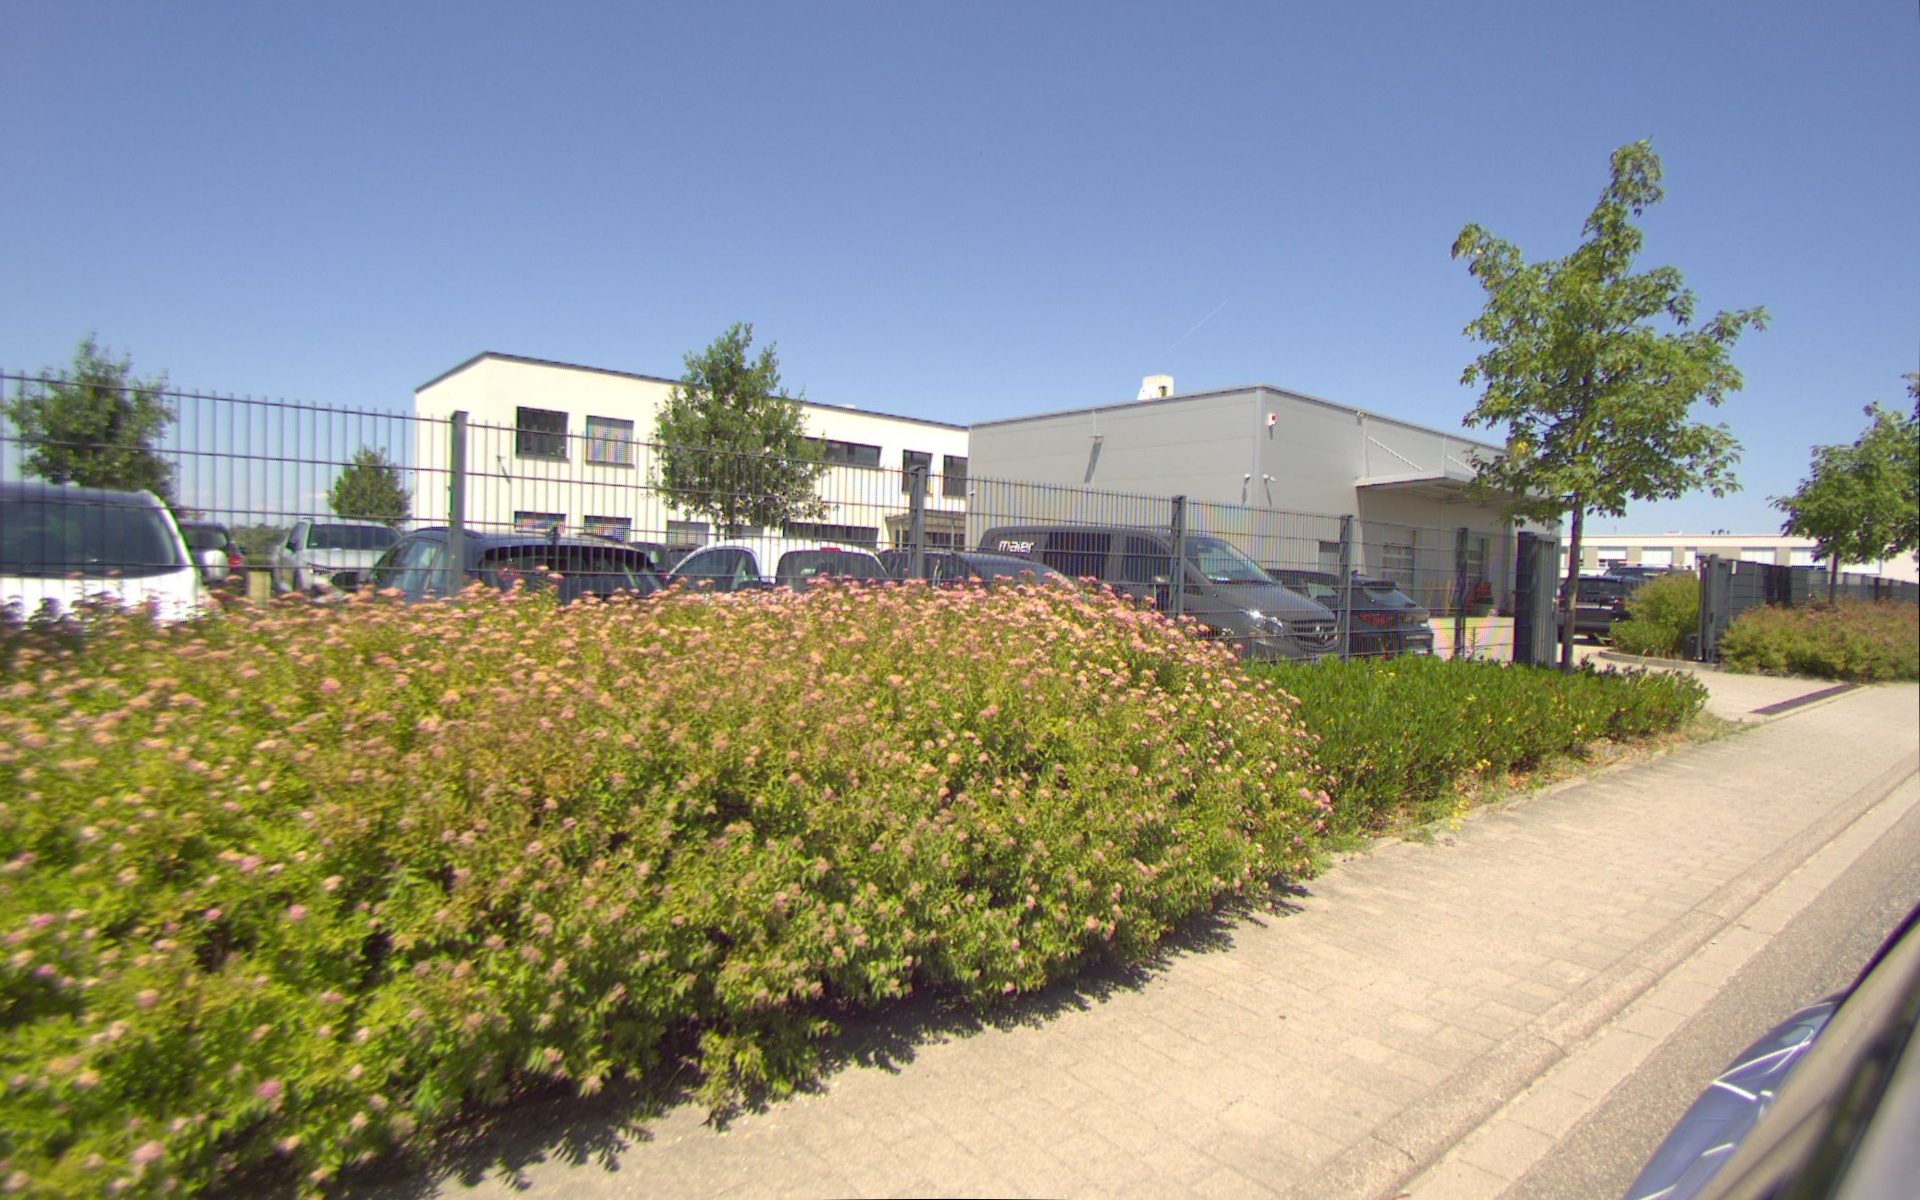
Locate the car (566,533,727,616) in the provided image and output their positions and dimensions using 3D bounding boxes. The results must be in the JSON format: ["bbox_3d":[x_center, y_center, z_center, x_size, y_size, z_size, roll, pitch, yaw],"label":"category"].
[{"bbox_3d":[-6.159,-0.544,19.612,1.734,1.420,3.885,0,3,-37],"label":"car"}]

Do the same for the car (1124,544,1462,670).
[{"bbox_3d":[4.522,-0.011,14.280,1.734,1.439,4.225,0,3,-40],"label":"car"}]

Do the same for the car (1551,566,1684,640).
[{"bbox_3d":[15.519,0.036,23.822,3.811,1.574,1.546,0,3,-40],"label":"car"}]

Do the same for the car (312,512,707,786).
[{"bbox_3d":[-3.398,0.161,7.245,1.615,1.439,3.673,0,3,-40],"label":"car"}]

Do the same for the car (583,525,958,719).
[{"bbox_3d":[-2.075,0.049,9.993,1.724,1.462,4.289,0,4,-40],"label":"car"}]

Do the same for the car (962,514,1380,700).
[{"bbox_3d":[2.421,-0.096,12.958,1.869,1.896,5.126,0,4,-40],"label":"car"}]

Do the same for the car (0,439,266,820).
[{"bbox_3d":[-5.167,0.019,5.605,1.790,1.540,3.996,0,3,-40],"label":"car"}]

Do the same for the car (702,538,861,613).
[{"bbox_3d":[-3.878,-0.563,21.518,1.734,1.420,3.885,0,3,-37],"label":"car"}]

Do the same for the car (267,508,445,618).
[{"bbox_3d":[-10.017,-0.650,16.641,1.885,1.571,4.051,0,3,-40],"label":"car"}]

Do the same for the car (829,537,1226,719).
[{"bbox_3d":[0.486,0.132,10.711,1.574,1.467,4.355,0,4,-40],"label":"car"}]

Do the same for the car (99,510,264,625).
[{"bbox_3d":[-11.687,-0.538,15.101,1.745,1.466,4.051,0,3,-40],"label":"car"}]

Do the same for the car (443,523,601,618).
[{"bbox_3d":[-7.971,-0.577,18.243,1.734,1.521,3.885,0,3,-37],"label":"car"}]

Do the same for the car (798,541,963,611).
[{"bbox_3d":[-1.921,-0.603,23.354,1.787,1.420,3.996,0,3,-40],"label":"car"}]

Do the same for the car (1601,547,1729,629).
[{"bbox_3d":[19.954,-0.350,28.579,4.151,2.112,1.881,0,3,-40],"label":"car"}]
